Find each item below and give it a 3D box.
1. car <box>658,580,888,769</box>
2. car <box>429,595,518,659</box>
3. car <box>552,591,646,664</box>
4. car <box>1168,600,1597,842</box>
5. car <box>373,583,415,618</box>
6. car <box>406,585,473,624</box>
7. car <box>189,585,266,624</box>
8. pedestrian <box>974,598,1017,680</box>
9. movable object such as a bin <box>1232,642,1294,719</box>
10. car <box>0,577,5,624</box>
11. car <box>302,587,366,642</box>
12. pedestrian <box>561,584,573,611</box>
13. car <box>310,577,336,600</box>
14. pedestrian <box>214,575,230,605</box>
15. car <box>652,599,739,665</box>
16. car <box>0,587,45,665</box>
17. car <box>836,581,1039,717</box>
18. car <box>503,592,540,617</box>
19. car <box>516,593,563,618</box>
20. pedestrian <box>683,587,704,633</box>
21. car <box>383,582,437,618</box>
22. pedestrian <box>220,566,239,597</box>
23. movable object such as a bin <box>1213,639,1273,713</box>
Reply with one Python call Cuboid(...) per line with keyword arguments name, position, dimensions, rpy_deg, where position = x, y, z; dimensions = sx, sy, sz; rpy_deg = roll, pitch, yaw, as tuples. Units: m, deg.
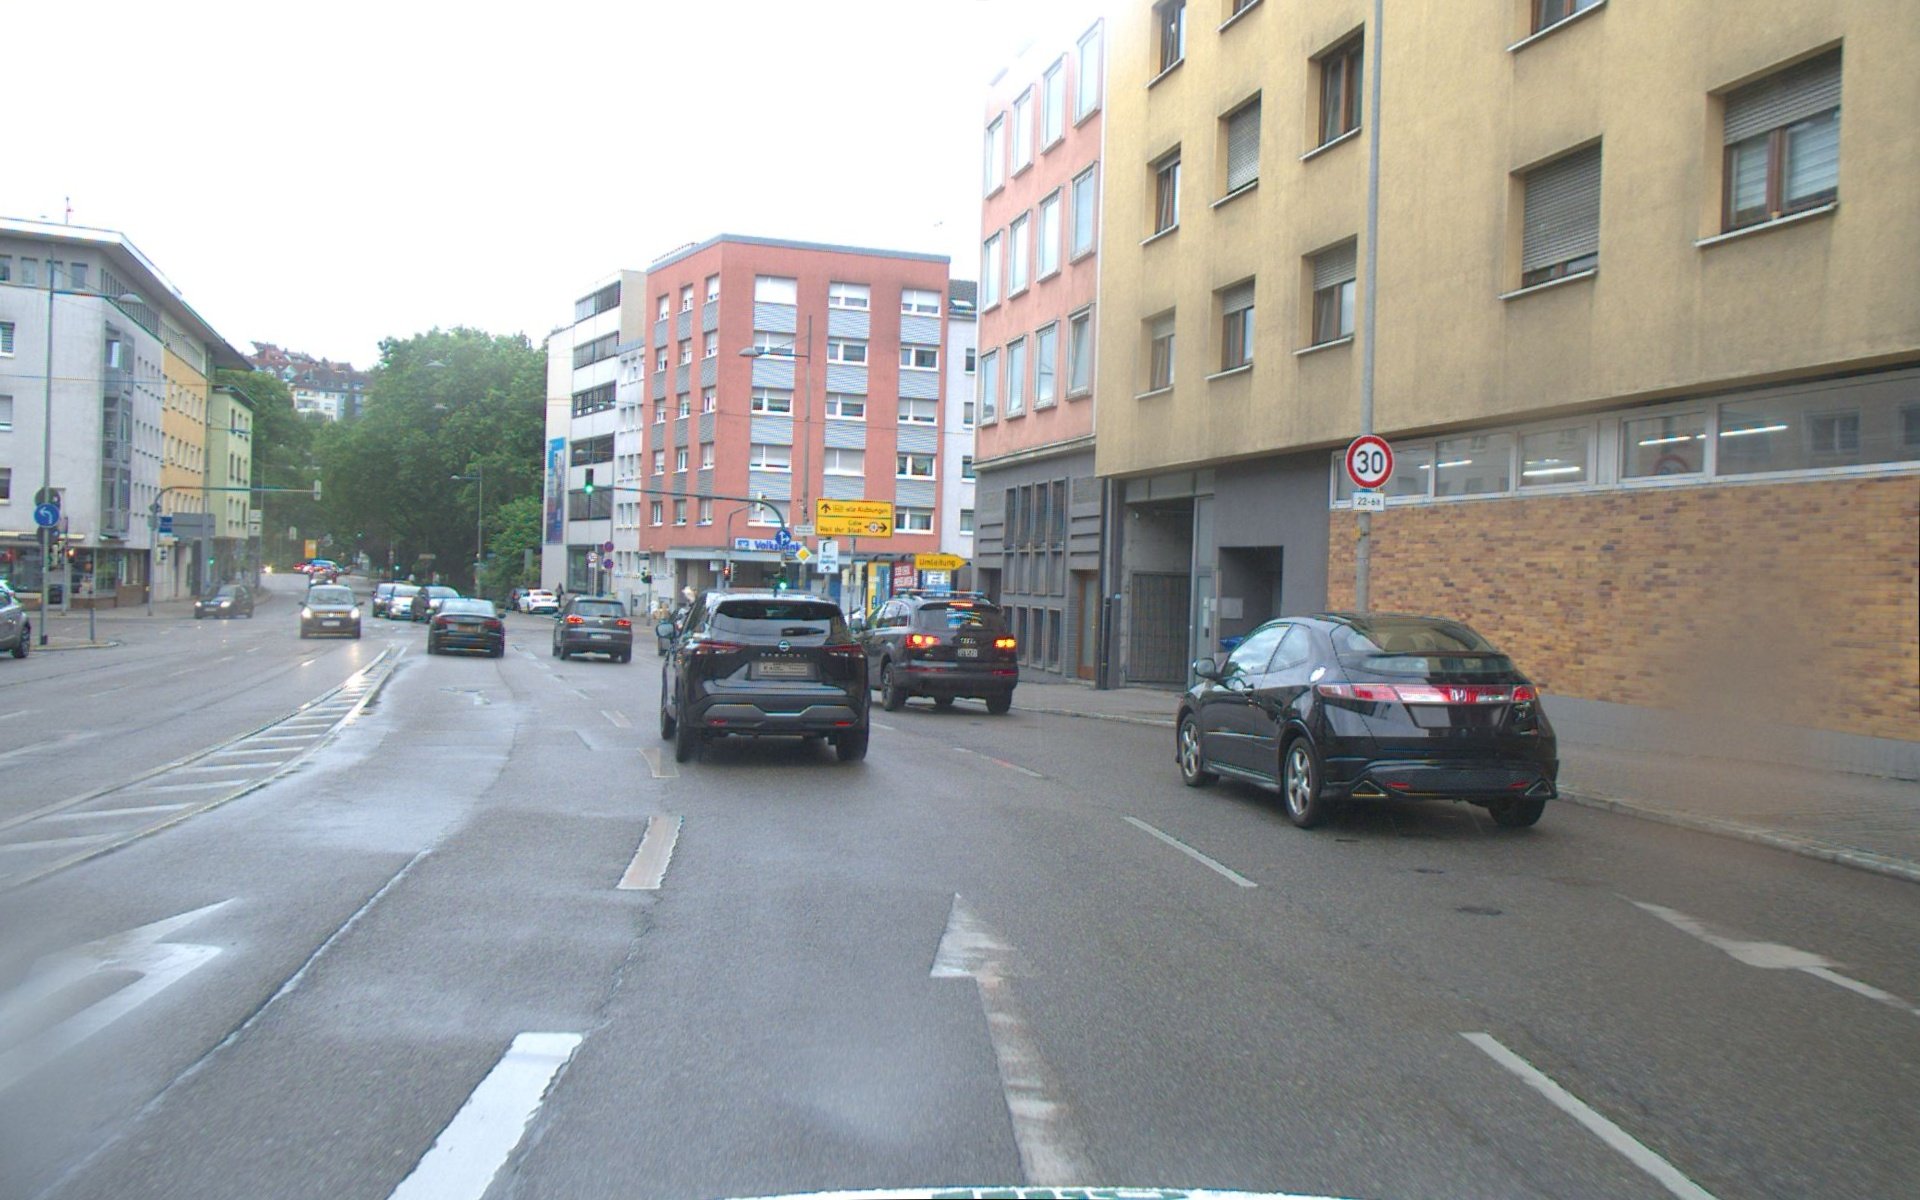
Cuboid(name="car", position=(-2.006, 0.687, 16.672), dimensions=(1.862, 1.657, 3.987), rpy_deg=(1, -1, -13))
Cuboid(name="car", position=(-12.723, 0.674, 43.069), dimensions=(1.963, 1.412, 4.476), rpy_deg=(4, 0, -19))
Cuboid(name="car", position=(-9.623, 0.699, 43.886), dimensions=(1.916, 1.714, 3.979), rpy_deg=(4, -1, -19))
Cuboid(name="car", position=(2.970, 0.789, 12.572), dimensions=(1.750, 1.523, 4.049), rpy_deg=(1, -1, -8))
Cuboid(name="car", position=(-27.621, 0.021, 80.643), dimensions=(1.794, 1.636, 4.404), rpy_deg=(1, -1, -20))
Cuboid(name="car", position=(-22.418, 0.194, 71.165), dimensions=(1.837, 1.580, 4.183), rpy_deg=(2, 0, -31))
Cuboid(name="car", position=(-32.464, 0.194, 73.396), dimensions=(1.658, 1.655, 3.999), rpy_deg=(1, 0, -1))
Cuboid(name="pedestrian", position=(0.797, 0.891, 37.852), dimensions=(0.661, 1.819, 1.091), rpy_deg=(2, 0, -14))
Cuboid(name="movable object such as a bin", position=(4.512, 1.195, 24.634), dimensions=(0.670, 1.095, 0.665), rpy_deg=(2, -1, -17))
Cuboid(name="car", position=(-37.901, -0.125, 61.381), dimensions=(3.962, 1.735, 1.663), rpy_deg=(4, -1, -40))
Cuboid(name="car", position=(-20.140, 0.440, 53.117), dimensions=(1.836, 1.676, 4.225), rpy_deg=(1, 0, -22))
Cuboid(name="pedestrian", position=(-25.762, -0.166, 108.388), dimensions=(0.606, 1.767, 0.674), rpy_deg=(0, 0, -32))
Cuboid(name="car", position=(-57.869, -1.066, 150.249), dimensions=(1.964, 1.892, 3.978), rpy_deg=(4, 0, -19))
Cuboid(name="pedestrian", position=(-41.609, -0.552, 93.241), dimensions=(0.676, 1.609, 0.648), rpy_deg=(4, -1, -18))
Cuboid(name="car", position=(-7.889, 0.905, 49.065), dimensions=(1.916, 1.848, 3.978), rpy_deg=(0, 0, -19))
Cuboid(name="car", position=(-20.614, 0.528, 34.217), dimensions=(1.876, 1.581, 4.611), rpy_deg=(1, 0, -15))
Cuboid(name="car", position=(-0.478, 0.688, 25.928), dimensions=(1.988, 1.902, 4.878), rpy_deg=(0, 0, -16))
Cuboid(name="car", position=(-27.886, 0.276, 105.224), dimensions=(1.692, 1.467, 4.052), rpy_deg=(0, 1, -24))
Cuboid(name="car", position=(-25.271, 0.320, 99.324), dimensions=(1.753, 1.425, 4.540), rpy_deg=(0, 1, -27))
Cuboid(name="pedestrian", position=(-13.143, 0.510, 81.538), dimensions=(0.813, 2.196, 0.765), rpy_deg=(4, -1, -19))
Cuboid(name="car", position=(-25.230, 0.000, 75.824), dimensions=(1.909, 1.553, 4.103), rpy_deg=(1, -1, -24))
Cuboid(name="pedestrian", position=(-45.001, -1.155, 101.907), dimensions=(0.852, 1.819, 0.870), rpy_deg=(5, -1, -19))
Cuboid(name="movable object such as a bin", position=(4.324, 1.164, 25.307), dimensions=(0.670, 1.095, 0.665), rpy_deg=(2, -1, -17))
